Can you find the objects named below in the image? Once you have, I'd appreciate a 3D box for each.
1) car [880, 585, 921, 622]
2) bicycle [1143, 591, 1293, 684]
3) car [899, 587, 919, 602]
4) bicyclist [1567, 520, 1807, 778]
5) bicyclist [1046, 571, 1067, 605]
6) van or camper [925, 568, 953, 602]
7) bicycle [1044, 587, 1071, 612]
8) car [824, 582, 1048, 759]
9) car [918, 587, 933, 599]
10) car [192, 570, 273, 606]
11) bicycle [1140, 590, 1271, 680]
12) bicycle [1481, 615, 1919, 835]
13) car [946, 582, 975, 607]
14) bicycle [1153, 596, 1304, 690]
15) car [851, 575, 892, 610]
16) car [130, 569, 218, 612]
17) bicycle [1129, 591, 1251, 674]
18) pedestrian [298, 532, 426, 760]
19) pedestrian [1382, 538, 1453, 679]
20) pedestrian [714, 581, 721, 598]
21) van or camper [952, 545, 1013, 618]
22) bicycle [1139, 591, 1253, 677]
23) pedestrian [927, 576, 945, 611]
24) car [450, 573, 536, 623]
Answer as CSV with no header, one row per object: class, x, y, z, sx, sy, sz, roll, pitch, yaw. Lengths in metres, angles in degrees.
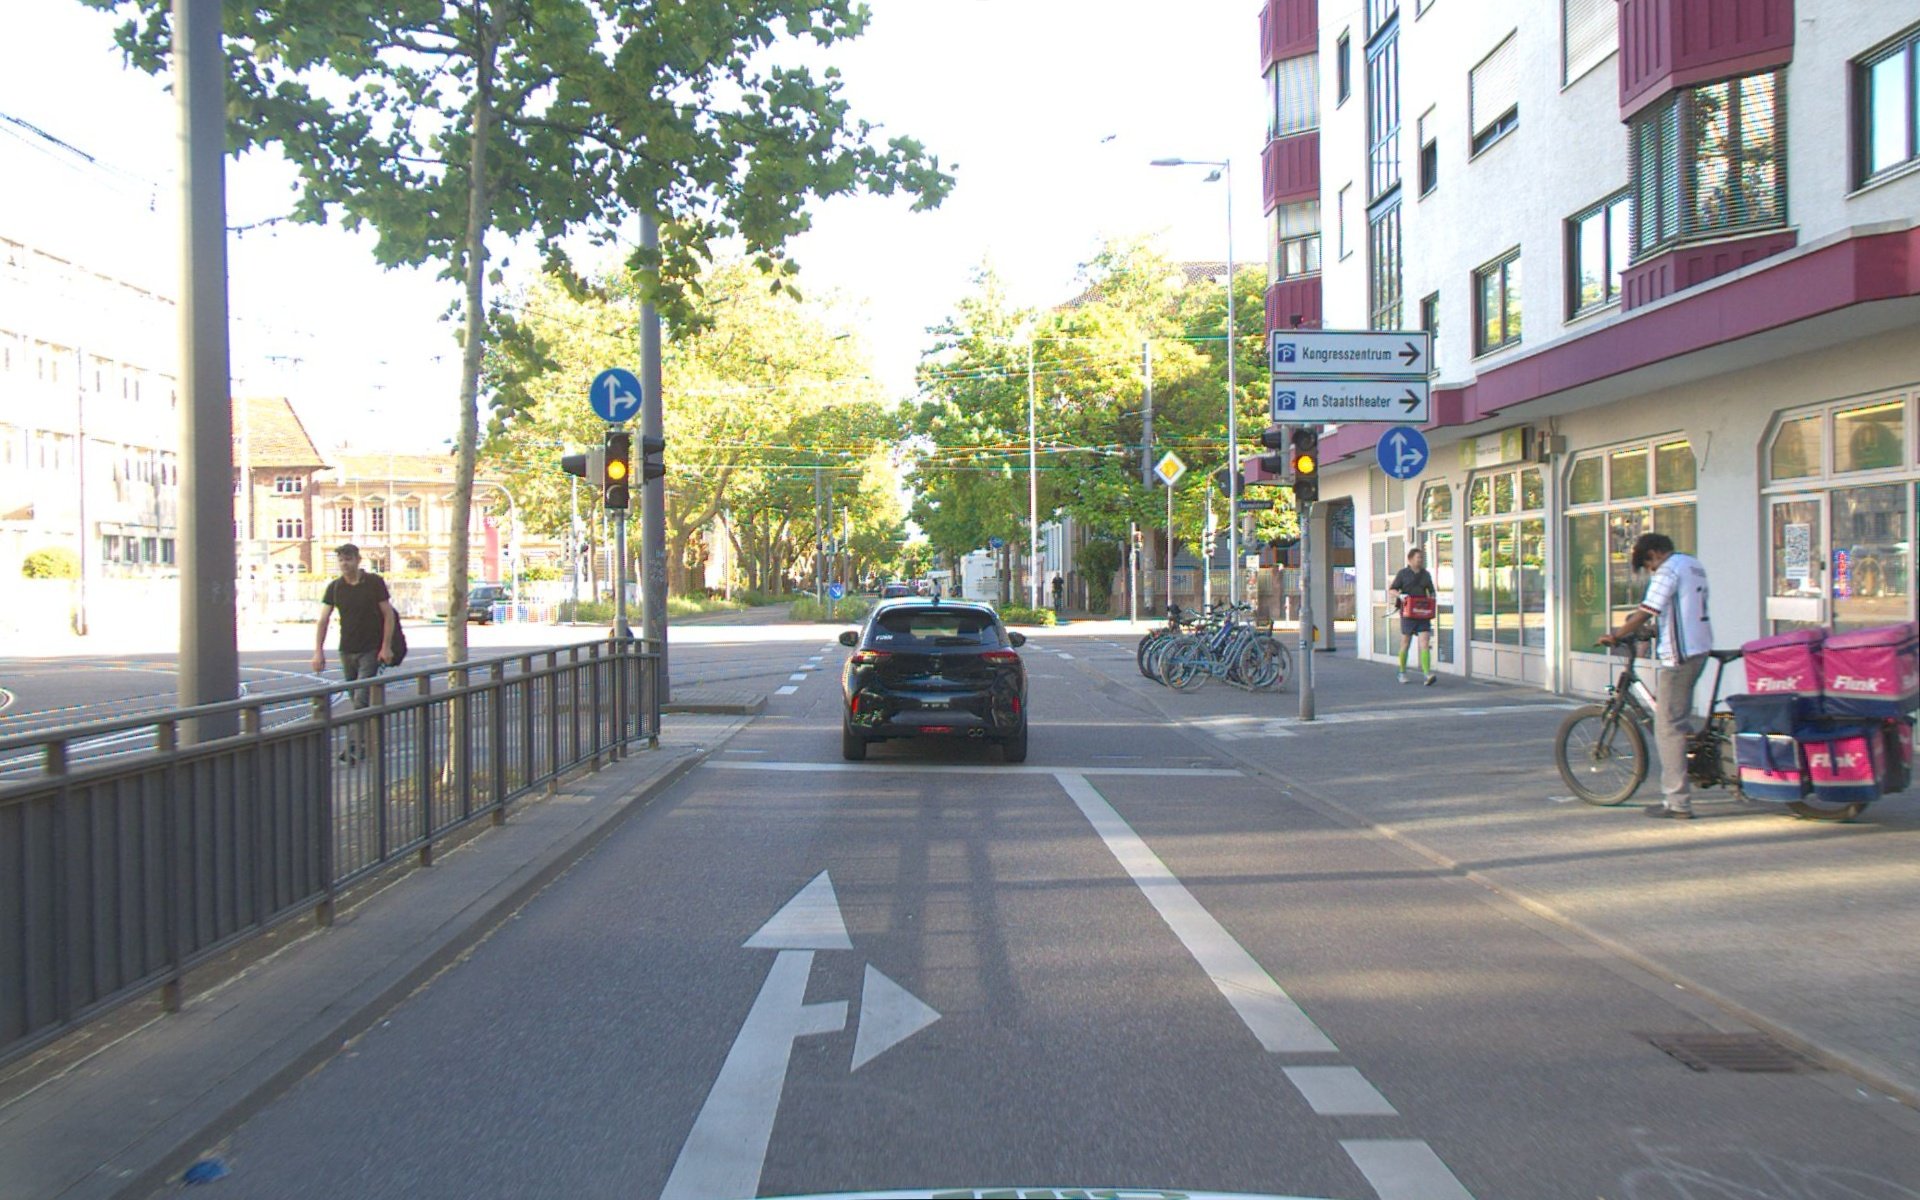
car,-2.712,0.131,76.257,1.795,1.651,4.283,0,1,-1
bicycle,3.544,0.500,22.761,1.938,1.220,0.590,-1,0,-6
car,-4.914,-0.549,160.656,1.866,1.450,4.215,-1,1,-1
bicyclist,4.731,0.287,10.776,1.050,1.567,1.064,-1,1,-39
bicyclist,4.349,-0.544,74.663,0.736,1.536,0.699,-1,0,-15
van or camper,-1.905,-1.398,152.503,2.436,3.046,5.433,1,0,-1
bicycle,4.372,-0.035,74.595,0.629,1.089,1.943,-1,1,-15
car,-0.215,0.571,16.041,1.866,1.450,4.215,-1,1,-1
car,-4.342,-0.903,209.675,1.866,1.450,4.215,-1,1,-1
car,-36.597,-0.609,83.328,1.952,1.733,4.380,-1,1,3
bicycle,3.504,0.499,23.651,1.793,1.242,0.496,-1,0,2
bicycle,4.768,0.724,10.733,0.954,1.204,2.562,-1,1,-38
car,0.031,-0.369,106.025,1.754,1.536,3.873,-2,1,-1
bicycle,3.581,0.567,22.146,1.902,1.190,0.572,-1,0,-5
car,-4.400,-0.412,83.130,1.953,1.656,4.468,1,1,-2
car,-39.581,-0.494,83.395,1.952,2.049,4.727,-1,1,3
bicycle,3.461,0.488,24.969,1.764,1.220,0.546,-1,-1,3
pedestrian,-4.783,0.357,13.266,0.719,1.777,0.712,0,1,4
pedestrian,6.287,0.110,22.756,0.708,1.890,0.801,-1,0,-2
pedestrian,-24.190,-1.064,164.927,0.645,1.650,0.615,1,0,-3
van or camper,1.029,-0.872,79.266,2.328,3.179,7.547,-4,1,-2
bicycle,3.446,0.488,24.221,1.588,1.220,0.496,-1,0,3
pedestrian,-1.417,-0.383,97.482,1.015,2.059,1.212,0,0,-3
car,-19.248,-0.118,68.363,1.951,1.981,4.427,-1,1,5
